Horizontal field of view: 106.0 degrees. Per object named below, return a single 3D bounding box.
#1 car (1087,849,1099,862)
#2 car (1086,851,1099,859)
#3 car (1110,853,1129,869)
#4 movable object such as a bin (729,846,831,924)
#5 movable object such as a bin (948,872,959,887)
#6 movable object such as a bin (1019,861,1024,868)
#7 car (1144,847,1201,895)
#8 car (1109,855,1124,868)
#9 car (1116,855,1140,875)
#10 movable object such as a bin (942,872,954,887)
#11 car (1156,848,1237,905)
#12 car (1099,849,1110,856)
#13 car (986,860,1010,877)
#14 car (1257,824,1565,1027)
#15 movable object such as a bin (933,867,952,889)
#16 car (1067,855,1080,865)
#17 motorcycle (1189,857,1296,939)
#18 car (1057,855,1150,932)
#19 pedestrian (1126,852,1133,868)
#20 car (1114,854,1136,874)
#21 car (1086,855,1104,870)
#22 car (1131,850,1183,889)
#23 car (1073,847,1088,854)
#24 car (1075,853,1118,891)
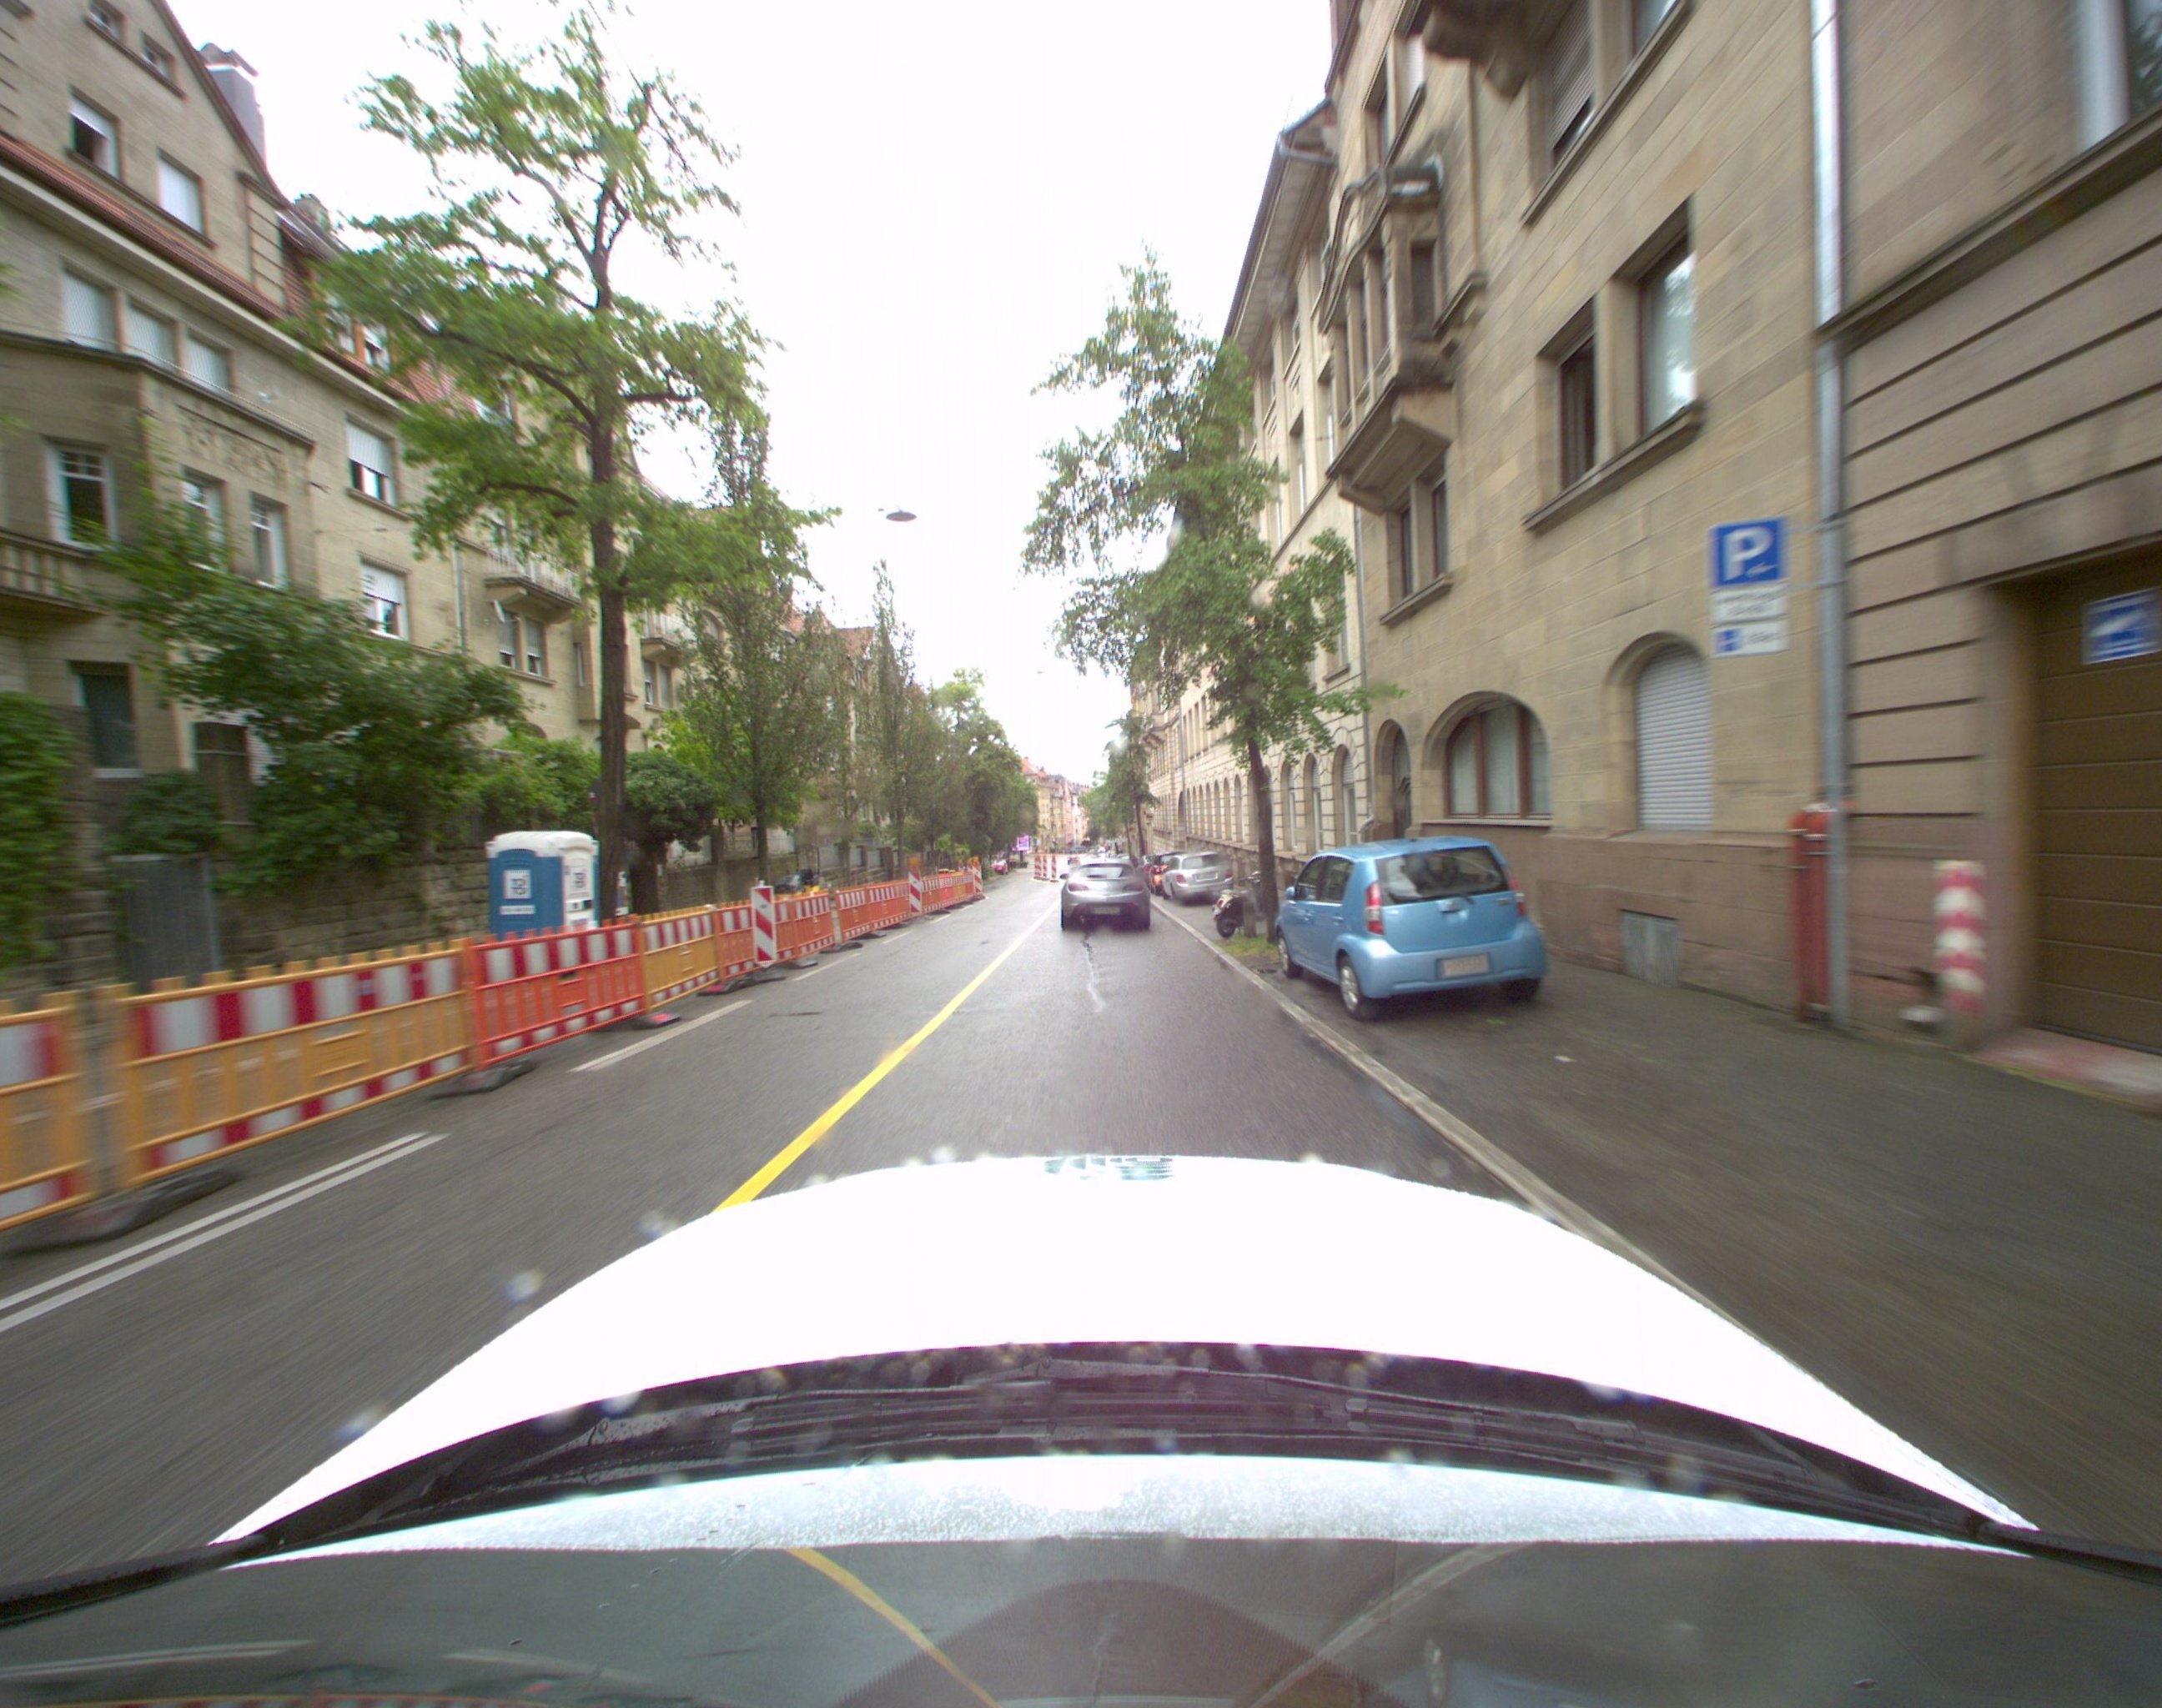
[{"bbox_3d":[1.653,0.198,114.027,1.651,1.782,3.666,-2,0,1],"label":"car"},{"bbox_3d":[2.386,0.213,166.895,1.981,1.684,4.012,0,0,11],"label":"car"},{"bbox_3d":[3.898,0.690,82.906,1.633,1.602,3.855,-3,0,-2],"label":"car"},{"bbox_3d":[-9.722,0.940,26.516,1.985,2.299,2.819,-3,0,4],"label":"movable object such as a bin"},{"bbox_3d":[-7.956,1.568,50.805,0.601,0.908,0.624,-1,0,2],"label":"movable object such as a bin"},{"bbox_3d":[-8.733,1.506,119.801,0.624,1.058,0.719,0,-1,-6],"label":"movable object such as a bin"},{"bbox_3d":[3.352,0.595,30.284,1.633,1.520,3.182,-5,0,-1],"label":"car"},{"bbox_3d":[4.193,0.879,97.666,1.631,1.524,3.858,-3,0,1],"label":"car"},{"bbox_3d":[3.597,0.811,62.880,1.632,1.429,3.376,-3,0,0],"label":"car"},{"bbox_3d":[-8.045,1.552,49.381,0.601,0.908,0.624,-1,0,2],"label":"movable object such as a bin"},{"bbox_3d":[3.423,0.612,24.815,1.690,1.431,4.421,-5,0,0],"label":"car"},{"bbox_3d":[5.594,-0.380,196.437,1.981,1.684,4.012,0,0,11],"label":"car"},{"bbox_3d":[-7.808,1.378,76.955,1.631,1.439,4.080,-3,0,1],"label":"car"},{"bbox_3d":[3.105,0.592,8.516,1.651,1.543,3.665,-4,0,0],"label":"car"},{"bbox_3d":[-8.225,1.424,48.430,0.941,1.214,0.856,-1,0,1],"label":"movable object such as a bin"},{"bbox_3d":[-1.256,0.885,129.371,1.988,1.500,3.997,-2,0,-2],"label":"car"},{"bbox_3d":[2.887,0.745,14.448,1.947,1.235,0.650,-5,1,-36],"label":"motorcycle"},{"bbox_3d":[0.515,0.771,17.872,1.804,1.449,3.871,-1,0,2],"label":"car"},{"bbox_3d":[5.754,0.725,97.006,0.713,1.870,0.636,-1,-1,0],"label":"pedestrian"},{"bbox_3d":[3.634,0.825,68.070,1.631,1.469,3.858,-3,0,1],"label":"car"},{"bbox_3d":[1.497,0.921,89.122,1.652,1.543,3.663,-4,0,-1],"label":"car"},{"bbox_3d":[3.318,0.635,36.320,1.752,1.461,4.722,-5,0,0],"label":"car"},{"bbox_3d":[-0.061,-0.908,211.630,3.974,1.750,2.000,0,-1,0],"label":"car"},{"bbox_3d":[0.688,0.755,36.278,1.766,1.504,3.870,-1,0,1],"label":"car"}]
